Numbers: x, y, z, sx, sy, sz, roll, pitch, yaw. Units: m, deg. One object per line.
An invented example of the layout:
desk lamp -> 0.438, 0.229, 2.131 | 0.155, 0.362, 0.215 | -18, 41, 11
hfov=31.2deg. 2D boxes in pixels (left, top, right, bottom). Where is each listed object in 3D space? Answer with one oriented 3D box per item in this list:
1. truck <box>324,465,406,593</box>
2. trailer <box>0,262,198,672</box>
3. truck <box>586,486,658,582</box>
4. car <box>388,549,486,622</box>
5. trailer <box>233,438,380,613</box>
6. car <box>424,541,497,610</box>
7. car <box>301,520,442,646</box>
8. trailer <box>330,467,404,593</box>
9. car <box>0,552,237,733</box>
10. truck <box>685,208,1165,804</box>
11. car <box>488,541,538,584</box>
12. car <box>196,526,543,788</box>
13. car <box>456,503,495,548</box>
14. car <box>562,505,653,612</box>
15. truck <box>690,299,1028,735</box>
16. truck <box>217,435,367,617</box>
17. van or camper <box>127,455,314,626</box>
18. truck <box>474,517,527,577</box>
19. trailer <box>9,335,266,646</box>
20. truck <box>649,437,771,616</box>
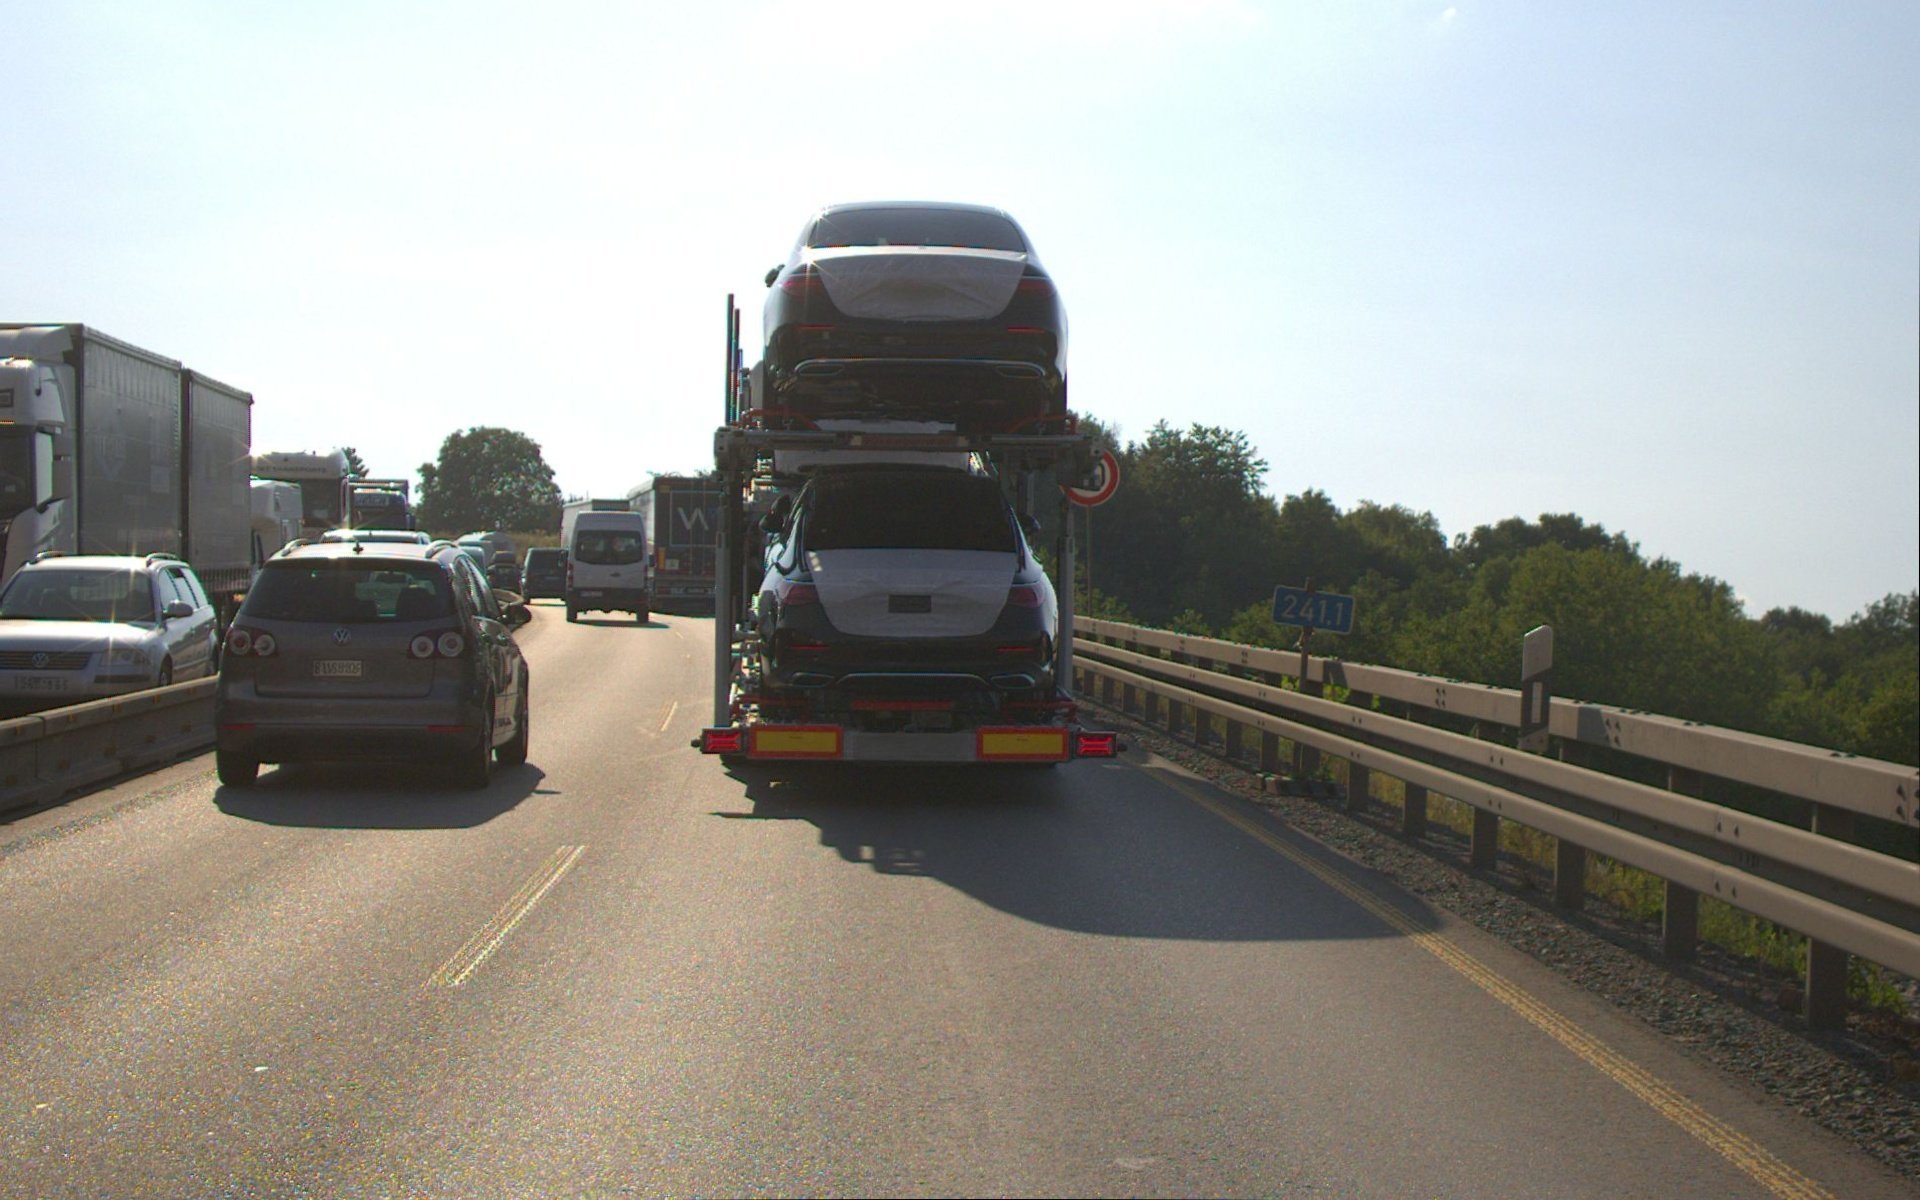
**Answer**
truck -> -19.501, -2.294, 112.908 | 2.502, 4.052, 5.666 | 1, 0, -9
trailer -> -11.253, -1.442, 41.367 | 2.475, 4.314, 10.512 | 1, 0, -4
truck -> -13.375, -2.549, 136.341 | 2.530, 3.635, 8.906 | 1, 0, -4
car -> -10.945, -0.304, 72.228 | 1.680, 1.474, 4.604 | 1, 0, -4
trailer -> -15.164, -1.645, 80.536 | 2.519, 3.712, 13.981 | 1, 0, -7
car -> -12.690, -0.626, 87.480 | 1.756, 1.689, 4.454 | 1, 0, -8
car -> -9.457, -0.279, 55.551 | 1.816, 1.919, 4.837 | 1, 0, -5
trailer -> -20.607, -2.343, 119.940 | 2.306, 4.116, 14.604 | 1, 0, -9
car -> -7.404, 0.318, 29.542 | 1.627, 1.421, 4.658 | 1, 0, -3
truck -> -0.566, -0.580, 25.611 | 2.798, 3.485, 10.607 | 1, 0, -4
car -> -18.940, -1.589, 145.807 | 1.826, 1.766, 4.000 | 1, 0, -3
car -> -3.871, 0.341, 23.143 | 1.691, 1.590, 4.000 | 1, 0, -1
car -> -22.618, -3.454, 160.421 | 1.629, 2.007, 4.001 | 1, 0, -10
car -> -8.539, -0.995, 83.562 | 1.920, 2.484, 5.409 | 1, 0, -3
truck -> -1.268, -0.752, 35.029 | 2.837, 3.779, 9.988 | 1, 0, -5
truck -> -14.409, -1.563, 74.551 | 2.600, 3.741, 6.518 | 1, 0, -6
van or camper -> -13.252, -1.030, 62.121 | 2.407, 2.881, 7.619 | 1, 0, -5
truck -> -24.965, -2.856, 187.063 | 2.590, 3.159, 6.678 | 1, 0, -5
trailer -> -12.012, -1.507, 50.888 | 2.442, 4.174, 8.545 | 1, 0, -5
truck -> -7.792, -2.204, 106.012 | 3.285, 5.219, 9.938 | 1, 0, -6
